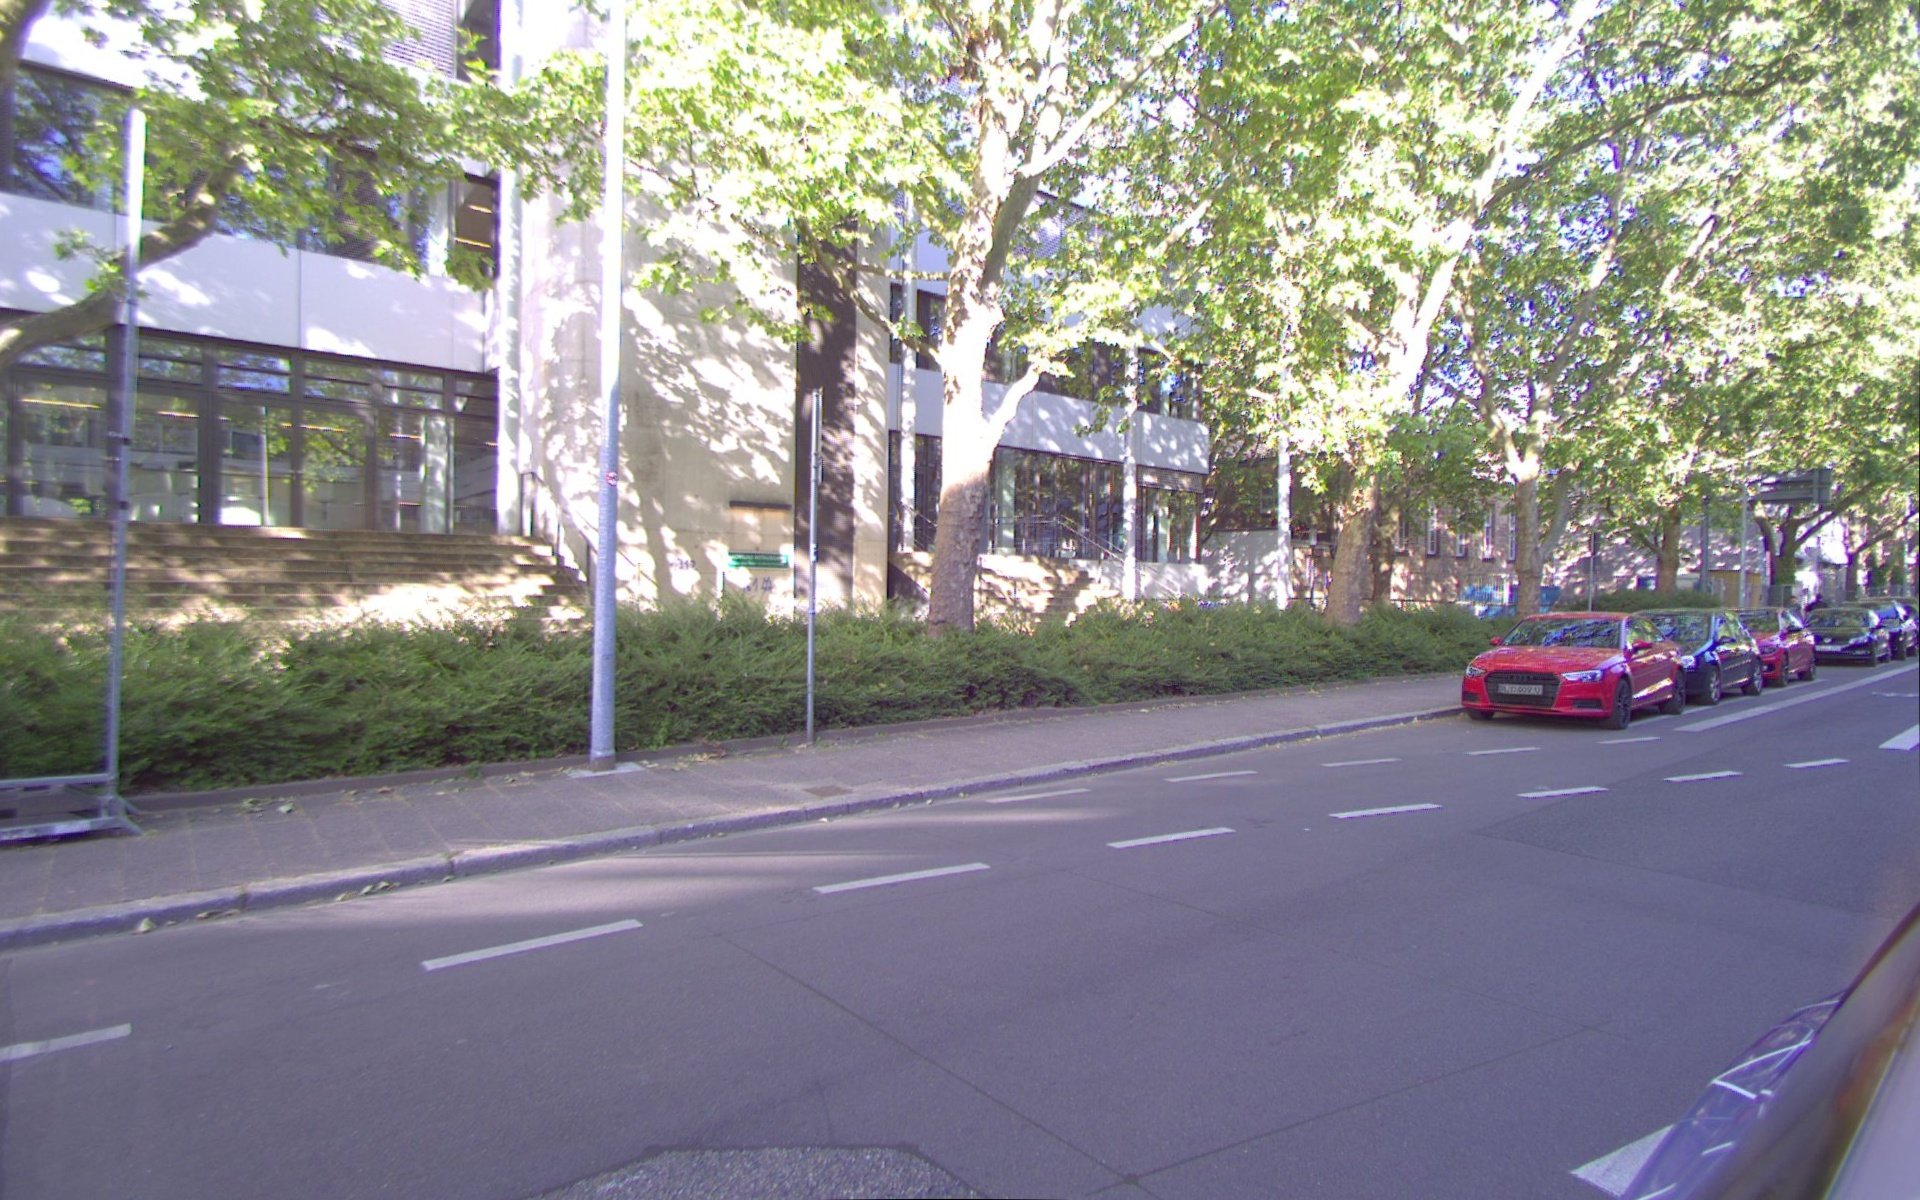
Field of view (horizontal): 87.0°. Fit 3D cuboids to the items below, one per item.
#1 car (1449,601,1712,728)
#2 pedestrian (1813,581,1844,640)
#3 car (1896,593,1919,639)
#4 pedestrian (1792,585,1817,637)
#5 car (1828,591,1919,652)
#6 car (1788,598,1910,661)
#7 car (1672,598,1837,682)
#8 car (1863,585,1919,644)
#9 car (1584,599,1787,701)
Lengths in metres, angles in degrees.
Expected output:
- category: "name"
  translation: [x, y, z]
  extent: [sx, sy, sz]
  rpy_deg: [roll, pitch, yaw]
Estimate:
- category: "car"
  translation: [8.405, 0.737, 13.570]
  extent: [4.173, 1.422, 1.834]
  rpy_deg: [0, 0, -41]
- category: "pedestrian"
  translation: [27.950, 0.336, 32.553]
  extent: [0.629, 1.884, 0.660]
  rpy_deg: [0, 0, -41]
- category: "car"
  translation: [35.910, 0.583, 37.102]
  extent: [4.183, 1.634, 1.834]
  rpy_deg: [0, 0, -40]
- category: "pedestrian"
  translation: [29.791, 0.378, 35.693]
  extent: [0.583, 1.818, 0.600]
  rpy_deg: [0, 0, -41]
- category: "car"
  translation: [26.562, 0.574, 29.087]
  extent: [4.088, 1.626, 1.834]
  rpy_deg: [0, 0, -40]
- category: "car"
  translation: [22.873, 0.704, 25.993]
  extent: [4.095, 1.486, 1.834]
  rpy_deg: [0, 0, -41]
- category: "car"
  translation: [15.840, 0.710, 20.102]
  extent: [4.095, 1.486, 1.834]
  rpy_deg: [0, 0, -41]
- category: "car"
  translation: [31.047, 0.441, 32.977]
  extent: [4.383, 1.820, 1.834]
  rpy_deg: [0, 0, -40]
- category: "car"
  translation: [12.025, 0.720, 16.687]
  extent: [4.095, 1.464, 1.834]
  rpy_deg: [0, 0, -41]
